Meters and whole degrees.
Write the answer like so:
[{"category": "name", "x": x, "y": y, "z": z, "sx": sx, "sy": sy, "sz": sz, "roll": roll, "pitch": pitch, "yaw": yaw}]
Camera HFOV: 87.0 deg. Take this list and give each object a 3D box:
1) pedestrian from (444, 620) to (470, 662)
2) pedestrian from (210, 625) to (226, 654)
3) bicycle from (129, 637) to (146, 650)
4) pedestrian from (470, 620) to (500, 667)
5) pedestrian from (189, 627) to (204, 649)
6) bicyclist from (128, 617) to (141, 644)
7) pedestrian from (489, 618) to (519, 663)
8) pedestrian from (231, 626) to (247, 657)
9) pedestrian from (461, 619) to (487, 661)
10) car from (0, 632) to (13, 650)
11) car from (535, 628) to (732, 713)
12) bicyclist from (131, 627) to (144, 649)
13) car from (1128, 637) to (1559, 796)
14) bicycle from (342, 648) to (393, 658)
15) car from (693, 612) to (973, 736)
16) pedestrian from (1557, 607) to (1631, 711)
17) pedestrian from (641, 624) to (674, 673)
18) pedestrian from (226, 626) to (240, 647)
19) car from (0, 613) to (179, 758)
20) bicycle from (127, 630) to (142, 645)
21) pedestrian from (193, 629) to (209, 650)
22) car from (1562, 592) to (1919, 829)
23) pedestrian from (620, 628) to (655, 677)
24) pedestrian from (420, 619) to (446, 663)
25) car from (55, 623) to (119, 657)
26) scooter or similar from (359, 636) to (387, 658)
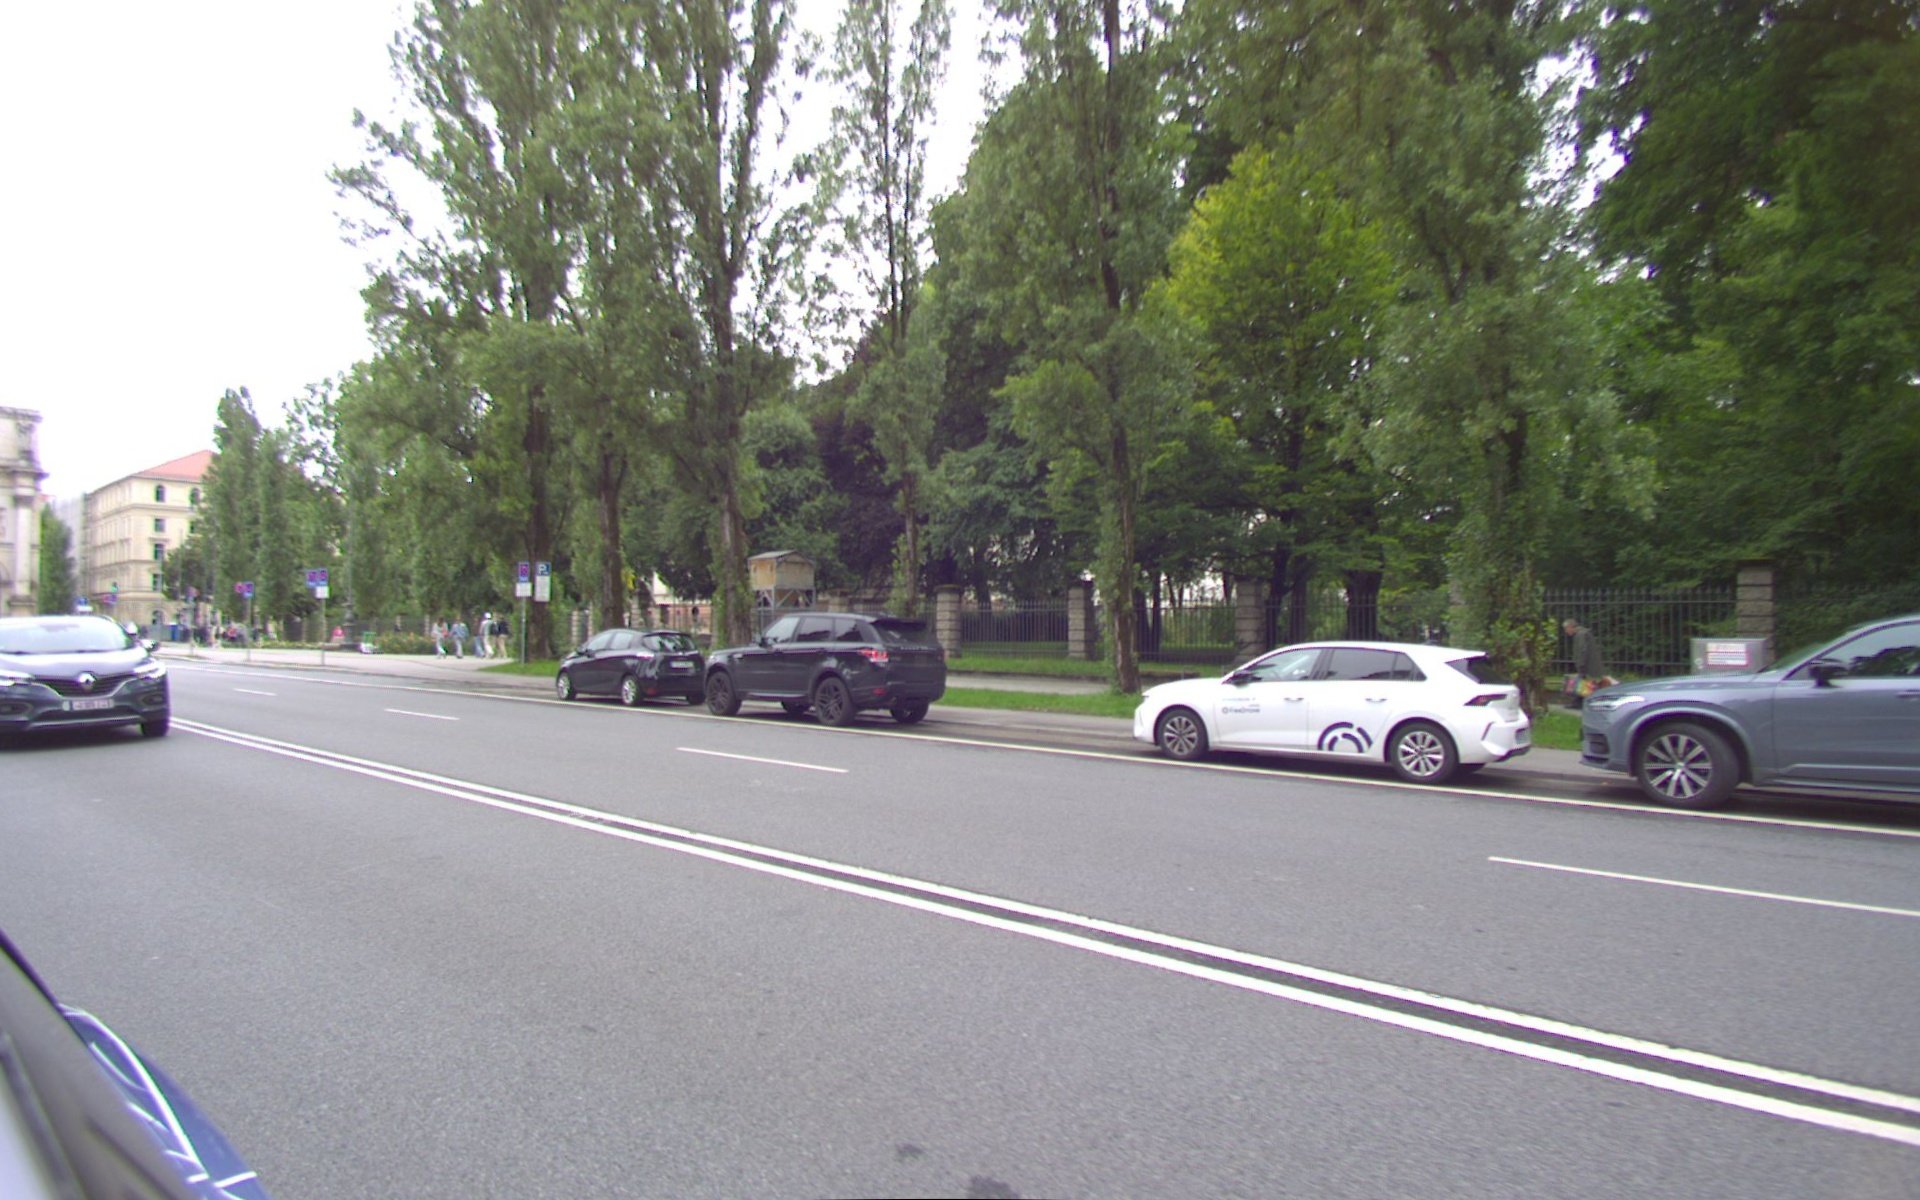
[{"category": "pedestrian", "x": -20.814, "y": 1.708, "z": 41.880, "sx": 0.885, "sy": 1.713, "sz": 0.681, "roll": -2, "pitch": -3, "yaw": 40}, {"category": "pedestrian", "x": -44.415, "y": 2.380, "z": 60.573, "sx": 0.581, "sy": 1.744, "sz": 0.527, "roll": -1, "pitch": -2, "yaw": 29}, {"category": "bicycle", "x": -62.616, "y": 3.312, "z": 77.056, "sx": 1.912, "sy": 0.959, "sz": 0.666, "roll": -2, "pitch": -1, "yaw": 40}, {"category": "pedestrian", "x": -19.072, "y": 1.732, "z": 40.624, "sx": 1.092, "sy": 1.847, "sz": 0.702, "roll": -1, "pitch": -1, "yaw": 39}, {"category": "pedestrian", "x": -61.390, "y": 3.045, "z": 81.406, "sx": 0.945, "sy": 1.731, "sz": 1.032, "roll": 0, "pitch": -1, "yaw": -38}, {"category": "bicyclist", "x": -55.629, "y": 2.067, "z": 68.184, "sx": 0.660, "sy": 1.837, "sz": 0.583, "roll": -2, "pitch": -1, "yaw": 38}, {"category": "pedestrian", "x": -18.613, "y": 1.652, "z": 41.263, "sx": 1.092, "sy": 1.786, "sz": 0.702, "roll": -2, "pitch": -2, "yaw": 39}, {"category": "pedestrian", "x": -40.922, "y": 2.350, "z": 57.456, "sx": 0.581, "sy": 1.744, "sz": 0.527, "roll": -1, "pitch": -2, "yaw": 29}, {"category": "pedestrian", "x": -20.433, "y": 1.680, "z": 42.565, "sx": 0.910, "sy": 1.729, "sz": 0.653, "roll": -2, "pitch": -3, "yaw": 40}, {"category": "car", "x": -98.267, "y": 4.130, "z": 101.864, "sx": 3.944, "sy": 1.763, "sz": 1.999, "roll": 0, "pitch": -2, "yaw": 1}, {"category": "car", "x": -6.944, "y": 1.438, "z": 21.297, "sx": 4.386, "sy": 1.596, "sz": 1.924, "roll": -2, "pitch": -4, "yaw": 41}, {"category": "bicyclist", "x": -62.635, "y": 2.887, "z": 77.050, "sx": 0.660, "sy": 1.604, "sz": 0.639, "roll": -2, "pitch": -1, "yaw": 38}, {"category": "car", "x": 4.206, "y": 1.187, "z": 11.515, "sx": 4.269, "sy": 1.470, "sz": 1.687, "roll": -2, "pitch": -4, "yaw": 40}, {"category": "bicycle", "x": -33.794, "y": 3.022, "z": 57.784, "sx": 1.330, "sy": 0.456, "sz": 2.204, "roll": -2, "pitch": -2, "yaw": 17}, {"category": "car", "x": -2.259, "y": 1.192, "z": 17.113, "sx": 4.798, "sy": 1.800, "sz": 2.024, "roll": -2, "pitch": -5, "yaw": 42}, {"category": "pedestrian", "x": 11.126, "y": 1.016, "z": 17.768, "sx": 0.956, "sy": 1.755, "sz": 0.822, "roll": -2, "pitch": -3, "yaw": 41}, {"category": "pedestrian", "x": -10.062, "y": 1.609, "z": 33.634, "sx": 0.812, "sy": 1.617, "sz": 0.711, "roll": -2, "pitch": -3, "yaw": 39}, {"category": "pedestrian", "x": -64.878, "y": 3.264, "z": 90.306, "sx": 0.976, "sy": 1.885, "sz": 1.032, "roll": 0, "pitch": -1, "yaw": -40}, {"category": "car", "x": -11.724, "y": 1.001, "z": 13.076, "sx": 4.183, "sy": 1.598, "sz": 1.816, "roll": -2, "pitch": -2, "yaw": 41}, {"category": "bicycle", "x": -55.594, "y": 2.527, "z": 68.153, "sx": 1.912, "sy": 0.959, "sz": 0.465, "roll": -2, "pitch": -1, "yaw": 40}, {"category": "pedestrian", "x": -64.451, "y": 3.350, "z": 85.980, "sx": 0.944, "sy": 1.731, "sz": 1.033, "roll": 0, "pitch": -1, "yaw": -28}, {"category": "car", "x": 8.112, "y": 0.902, "z": 8.341, "sx": 5.175, "sy": 1.803, "sz": 1.890, "roll": -2, "pitch": -5, "yaw": 40}, {"category": "pedestrian", "x": -10.525, "y": 1.692, "z": 33.040, "sx": 0.874, "sy": 1.560, "sz": 0.711, "roll": -2, "pitch": -2, "yaw": 39}, {"category": "pedestrian", "x": -21.412, "y": 1.664, "z": 41.108, "sx": 0.907, "sy": 1.760, "sz": 0.623, "roll": -2, "pitch": -3, "yaw": 40}, {"category": "car", "x": -47.396, "y": 2.141, "z": 54.913, "sx": 4.465, "sy": 1.346, "sz": 1.775, "roll": 6, "pitch": 3, "yaw": 38}, {"category": "scooter or similar", "x": -31.161, "y": 2.494, "z": 53.737, "sx": 1.413, "sy": 1.187, "sz": 0.738, "roll": -2, "pitch": -4, "yaw": 36}]
